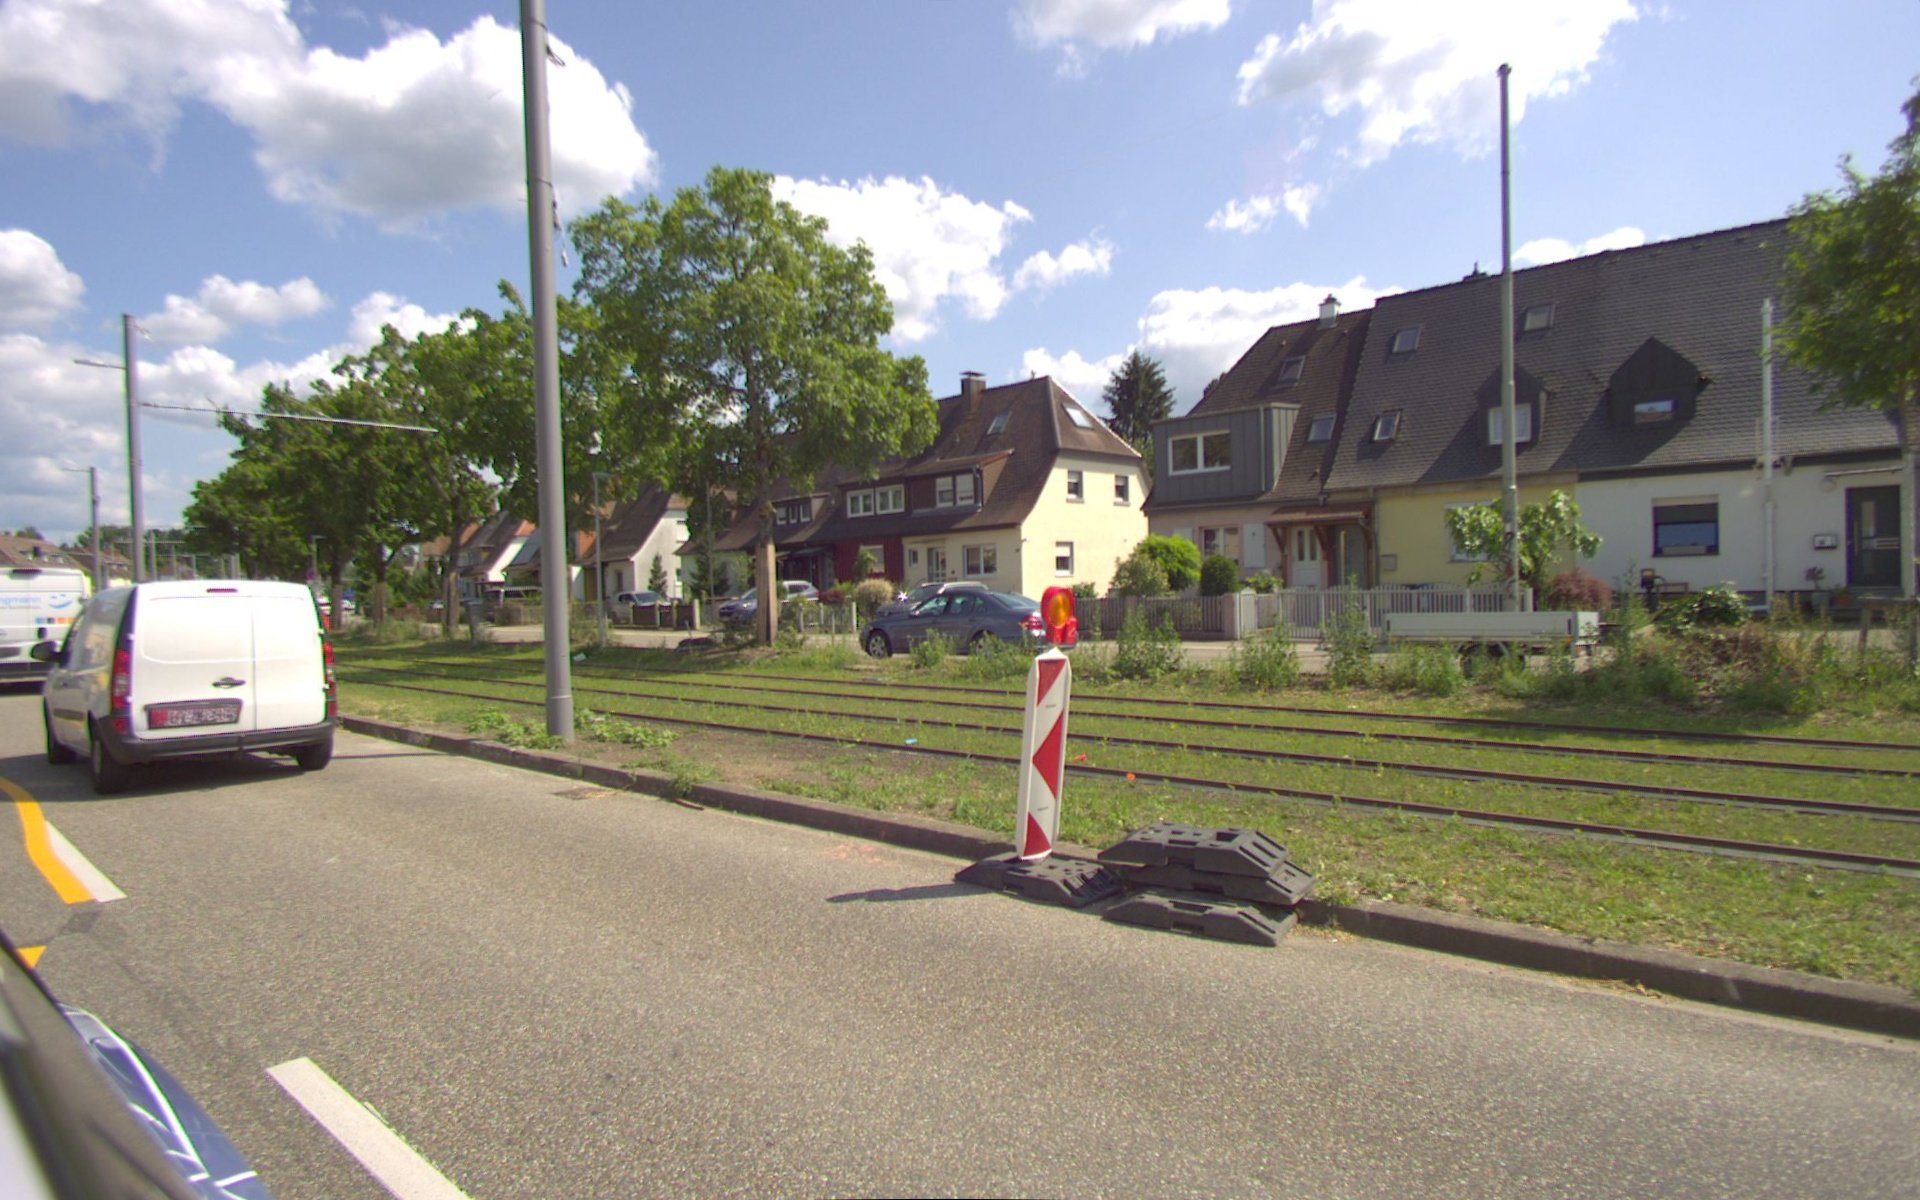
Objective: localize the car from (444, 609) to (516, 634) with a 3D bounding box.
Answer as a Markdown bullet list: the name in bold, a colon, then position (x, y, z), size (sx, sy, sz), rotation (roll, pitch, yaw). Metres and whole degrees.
- **car**: position (-31.043, 1.355, 65.513), size (3.837, 1.468, 1.737), rotation (-2, 0, -43)

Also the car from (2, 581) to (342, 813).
- **car**: position (-7.838, 0.786, 9.913), size (4.304, 1.787, 1.717), rotation (-2, 0, 40)

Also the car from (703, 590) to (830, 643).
- **car**: position (-7.381, 0.603, 38.938), size (2.065, 1.850, 4.423), rotation (-1, 0, 42)

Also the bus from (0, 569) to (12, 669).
- **bus**: position (-38.144, 0.779, 38.244), size (12.249, 3.438, 2.607), rotation (-2, -2, 43)

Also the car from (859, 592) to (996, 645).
- **car**: position (-0.994, 0.560, 33.024), size (1.925, 1.535, 4.423), rotation (-1, 0, 42)

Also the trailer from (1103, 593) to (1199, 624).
- **trailer**: position (7.402, 0.311, 38.935), size (1.869, 1.033, 3.945), rotation (-1, 0, 41)

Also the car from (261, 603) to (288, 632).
- **car**: position (-67.478, 1.696, 99.641), size (2.124, 2.688, 4.929), rotation (-2, 0, -34)

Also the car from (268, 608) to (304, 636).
- **car**: position (-51.822, 1.658, 77.757), size (1.967, 2.029, 4.915), rotation (-2, 0, -37)

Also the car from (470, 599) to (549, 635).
- **car**: position (-26.700, 0.982, 60.112), size (1.934, 1.911, 3.860), rotation (-2, 2, 28)

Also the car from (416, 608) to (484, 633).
- **car**: position (-36.479, 1.449, 72.426), size (3.939, 1.541, 1.876), rotation (-3, 1, -43)

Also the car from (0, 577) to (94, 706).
- **car**: position (-20.216, 0.836, 21.581), size (5.572, 2.461, 2.079), rotation (-1, 0, 44)

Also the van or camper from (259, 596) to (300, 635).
- **van or camper**: position (-55.853, 1.241, 83.037), size (2.345, 2.992, 7.312), rotation (-1, 0, -37)

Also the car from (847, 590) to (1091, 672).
- **car**: position (0.063, 0.575, 19.987), size (4.811, 1.416, 1.800), rotation (-1, 0, 42)
